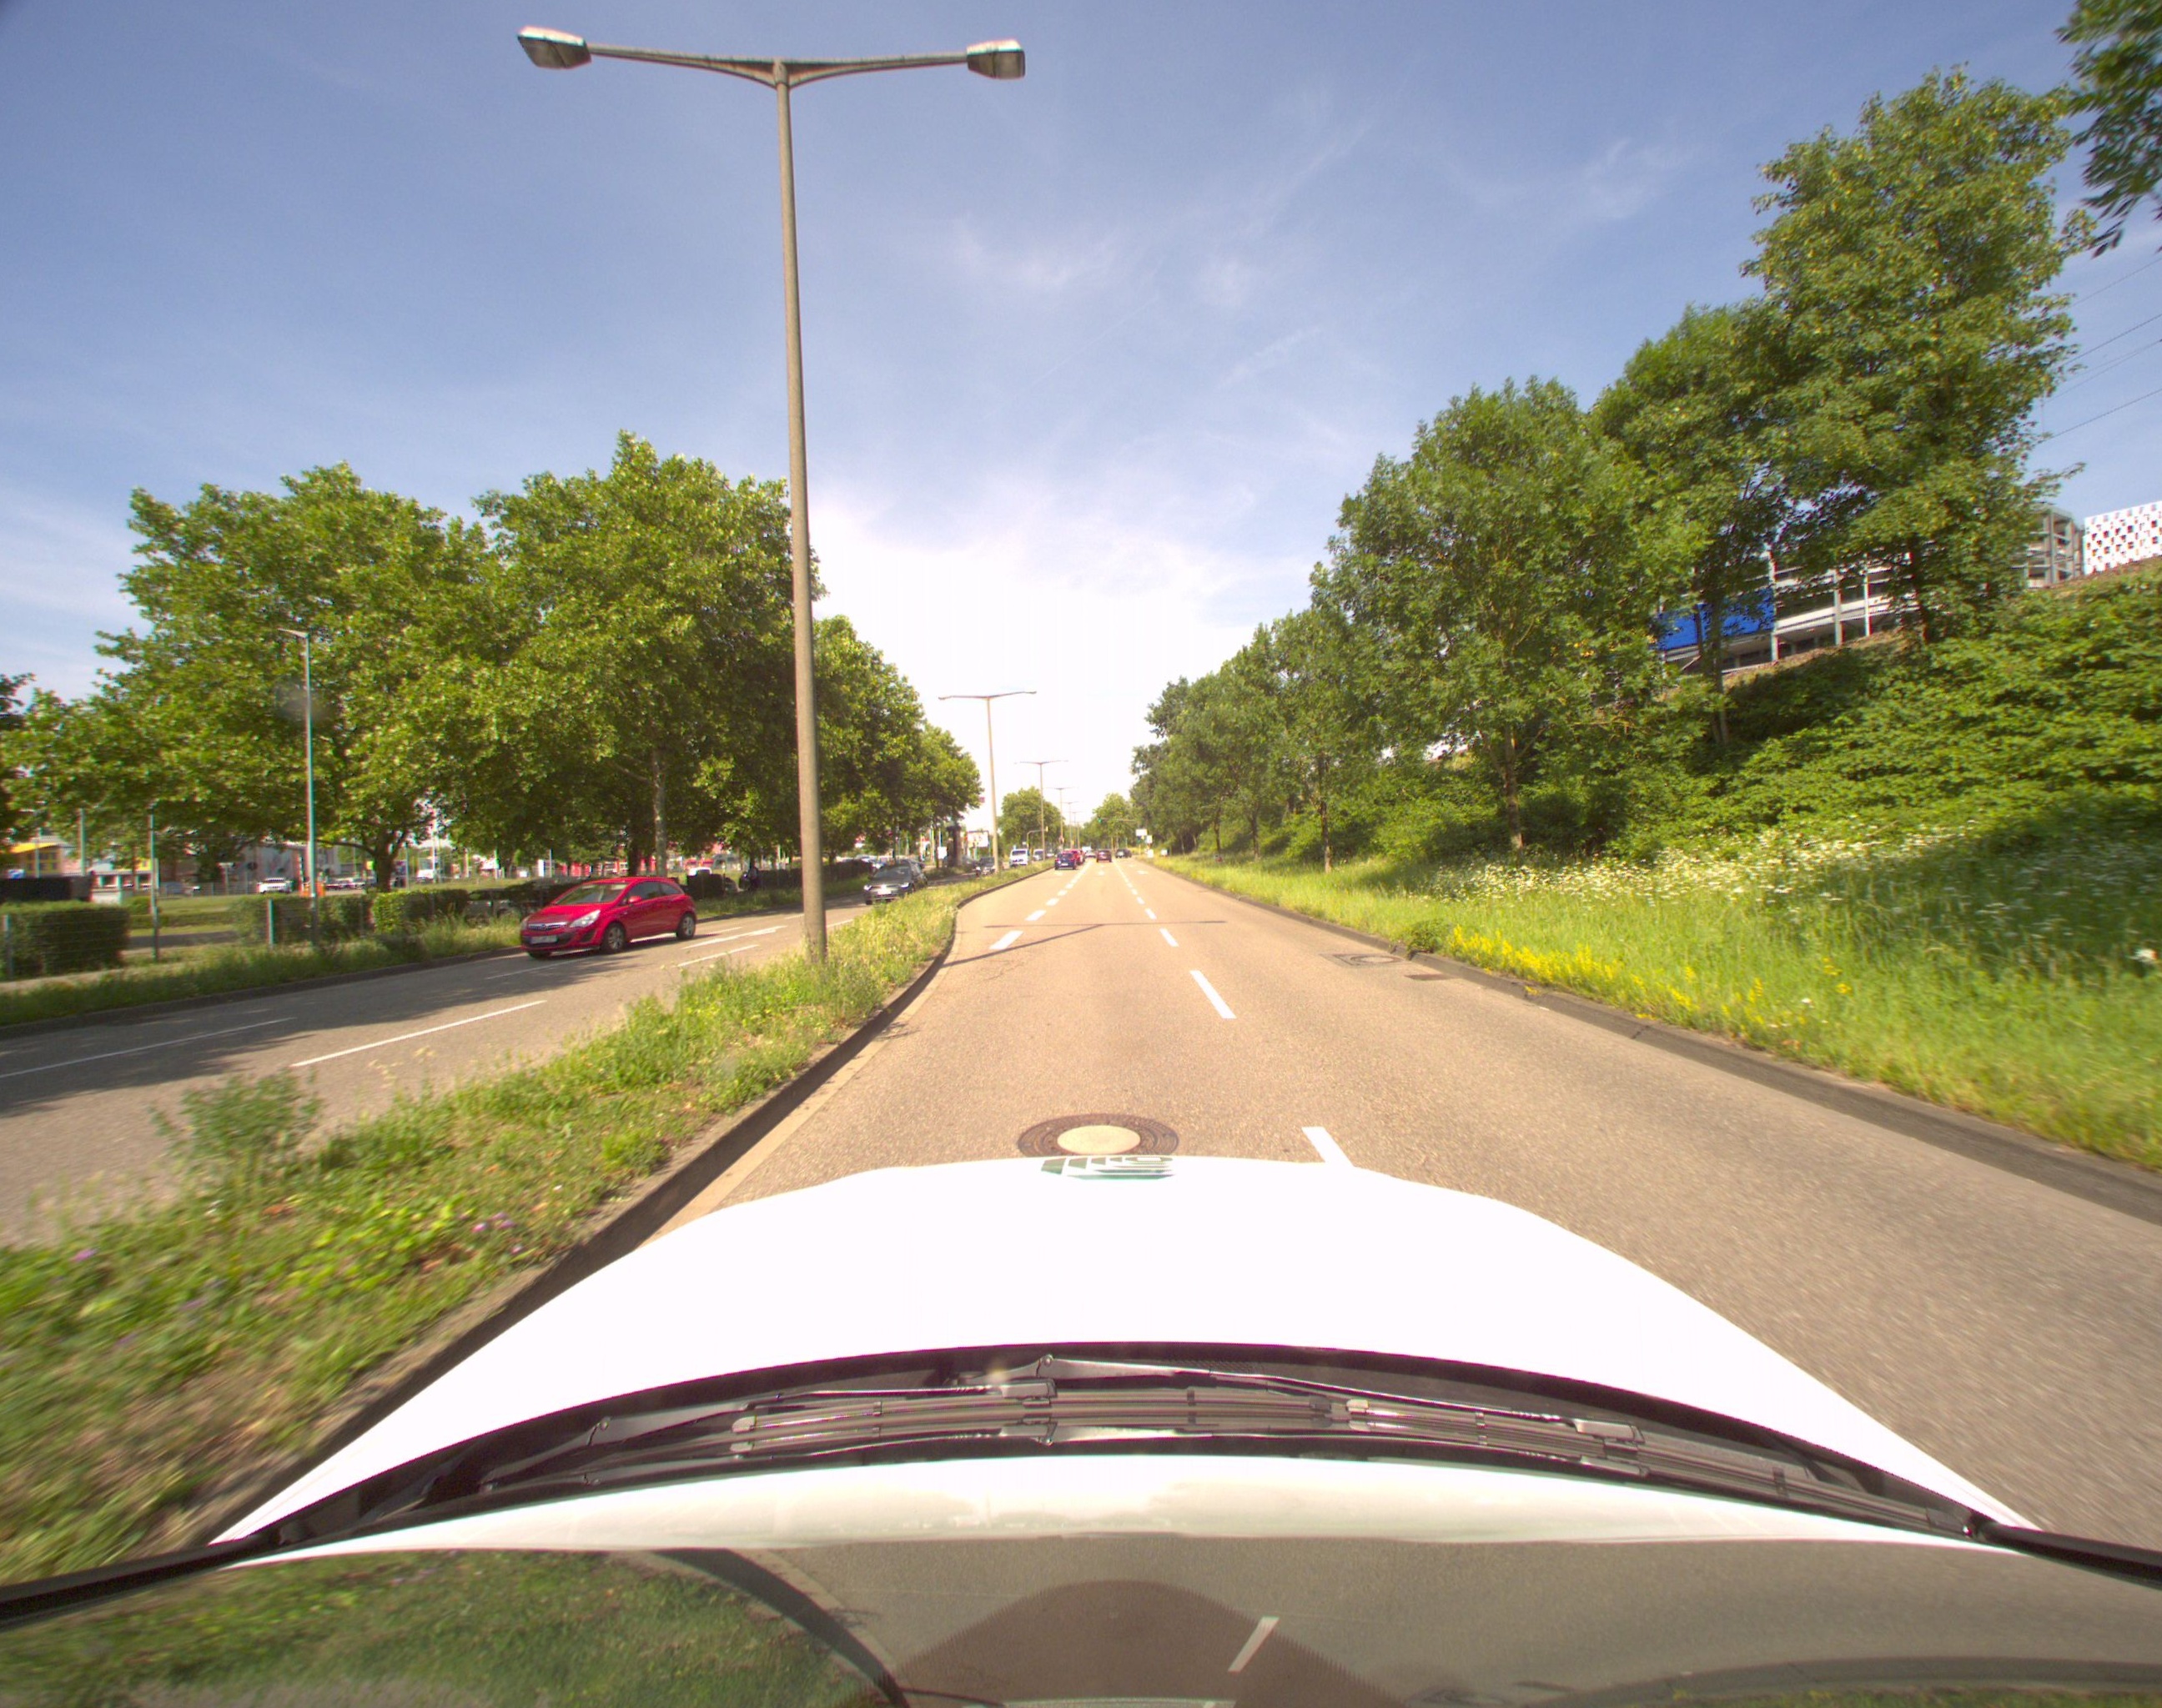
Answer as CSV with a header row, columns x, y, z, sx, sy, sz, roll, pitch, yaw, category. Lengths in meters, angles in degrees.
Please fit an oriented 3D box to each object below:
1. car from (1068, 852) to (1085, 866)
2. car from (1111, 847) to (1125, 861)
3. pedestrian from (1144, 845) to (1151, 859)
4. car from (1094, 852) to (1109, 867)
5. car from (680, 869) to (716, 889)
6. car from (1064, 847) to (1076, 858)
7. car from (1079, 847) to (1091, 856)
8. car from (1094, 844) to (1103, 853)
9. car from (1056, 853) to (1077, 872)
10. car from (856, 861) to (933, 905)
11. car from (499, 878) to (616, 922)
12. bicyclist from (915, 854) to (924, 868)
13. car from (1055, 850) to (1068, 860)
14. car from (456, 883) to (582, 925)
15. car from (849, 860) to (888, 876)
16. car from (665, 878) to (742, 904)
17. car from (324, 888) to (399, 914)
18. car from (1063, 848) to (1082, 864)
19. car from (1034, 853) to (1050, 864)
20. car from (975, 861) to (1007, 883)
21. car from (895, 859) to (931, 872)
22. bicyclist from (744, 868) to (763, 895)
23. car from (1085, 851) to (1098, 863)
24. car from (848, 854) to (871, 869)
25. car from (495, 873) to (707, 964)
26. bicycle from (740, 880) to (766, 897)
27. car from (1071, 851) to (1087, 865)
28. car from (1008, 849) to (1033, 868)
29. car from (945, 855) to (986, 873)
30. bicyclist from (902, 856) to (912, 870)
x,y,z,sx,sy,sz,roll,pitch,yaw,category
-0.496,0.579,89.706,1.760,1.479,4.136,-1,0,1,car
5.544,0.024,123.260,2.010,1.837,4.003,-2,2,2,car
9.550,-0.251,116.546,0.835,1.932,0.771,-2,2,-2,pedestrian
2.561,0.631,99.155,1.730,1.535,4.003,-2,2,2,car
-36.483,2.401,77.538,2.010,1.665,4.789,-3,0,-38,car
-1.991,-0.319,150.579,1.985,1.860,4.003,-2,0,3,car
0.749,-0.488,153.876,1.986,1.708,4.265,-2,0,2,car
4.423,-1.359,206.963,1.988,2.013,3.997,-2,0,-2,car
-1.217,0.698,68.423,1.620,1.483,4.049,-1,0,1,car
-7.053,1.051,31.219,1.833,1.478,4.167,-3,0,1,car
-23.882,2.088,37.266,3.968,1.823,2.159,-2,-1,5,car
-20.929,0.870,105.381,0.904,1.715,0.774,-3,3,-35,bicyclist
-3.708,0.170,157.349,1.985,1.775,4.004,-3,0,4,car
-23.426,2.078,34.050,3.971,1.464,1.773,-3,0,2,car
-25.537,1.678,97.947,4.121,1.603,1.729,-3,0,13,car
-23.915,2.328,51.694,3.979,1.414,1.802,-2,-1,-4,car
-47.553,3.117,53.824,3.955,1.504,1.814,-1,2,17,car
-0.813,0.175,82.971,1.776,1.593,4.594,-1,0,1,car
-5.733,0.694,121.097,1.986,1.530,4.684,-3,0,2,car
-6.675,1.315,60.796,1.762,1.469,4.285,-3,0,2,car
-19.885,1.388,96.365,3.949,1.388,1.776,-2,1,28,car
-19.232,1.598,47.829,0.679,1.485,0.942,-3,0,1,bicyclist
1.733,0.487,131.751,1.986,1.744,4.267,-3,0,2,car
-40.233,1.381,147.956,2.011,2.532,4.583,-3,0,-42,car
-9.771,1.244,17.001,1.755,1.462,4.005,-4,0,4,car
-19.221,2.026,47.750,0.687,0.866,1.927,-3,0,2,bicycle
-0.236,0.518,102.660,1.875,1.618,4.213,-2,0,1,car
-6.288,0.437,85.419,2.110,1.883,5.419,-3,0,0,car
-13.058,1.156,92.040,4.343,1.750,1.881,-3,0,31,car
-22.142,1.158,103.578,0.904,1.646,0.780,-3,3,-35,bicyclist
